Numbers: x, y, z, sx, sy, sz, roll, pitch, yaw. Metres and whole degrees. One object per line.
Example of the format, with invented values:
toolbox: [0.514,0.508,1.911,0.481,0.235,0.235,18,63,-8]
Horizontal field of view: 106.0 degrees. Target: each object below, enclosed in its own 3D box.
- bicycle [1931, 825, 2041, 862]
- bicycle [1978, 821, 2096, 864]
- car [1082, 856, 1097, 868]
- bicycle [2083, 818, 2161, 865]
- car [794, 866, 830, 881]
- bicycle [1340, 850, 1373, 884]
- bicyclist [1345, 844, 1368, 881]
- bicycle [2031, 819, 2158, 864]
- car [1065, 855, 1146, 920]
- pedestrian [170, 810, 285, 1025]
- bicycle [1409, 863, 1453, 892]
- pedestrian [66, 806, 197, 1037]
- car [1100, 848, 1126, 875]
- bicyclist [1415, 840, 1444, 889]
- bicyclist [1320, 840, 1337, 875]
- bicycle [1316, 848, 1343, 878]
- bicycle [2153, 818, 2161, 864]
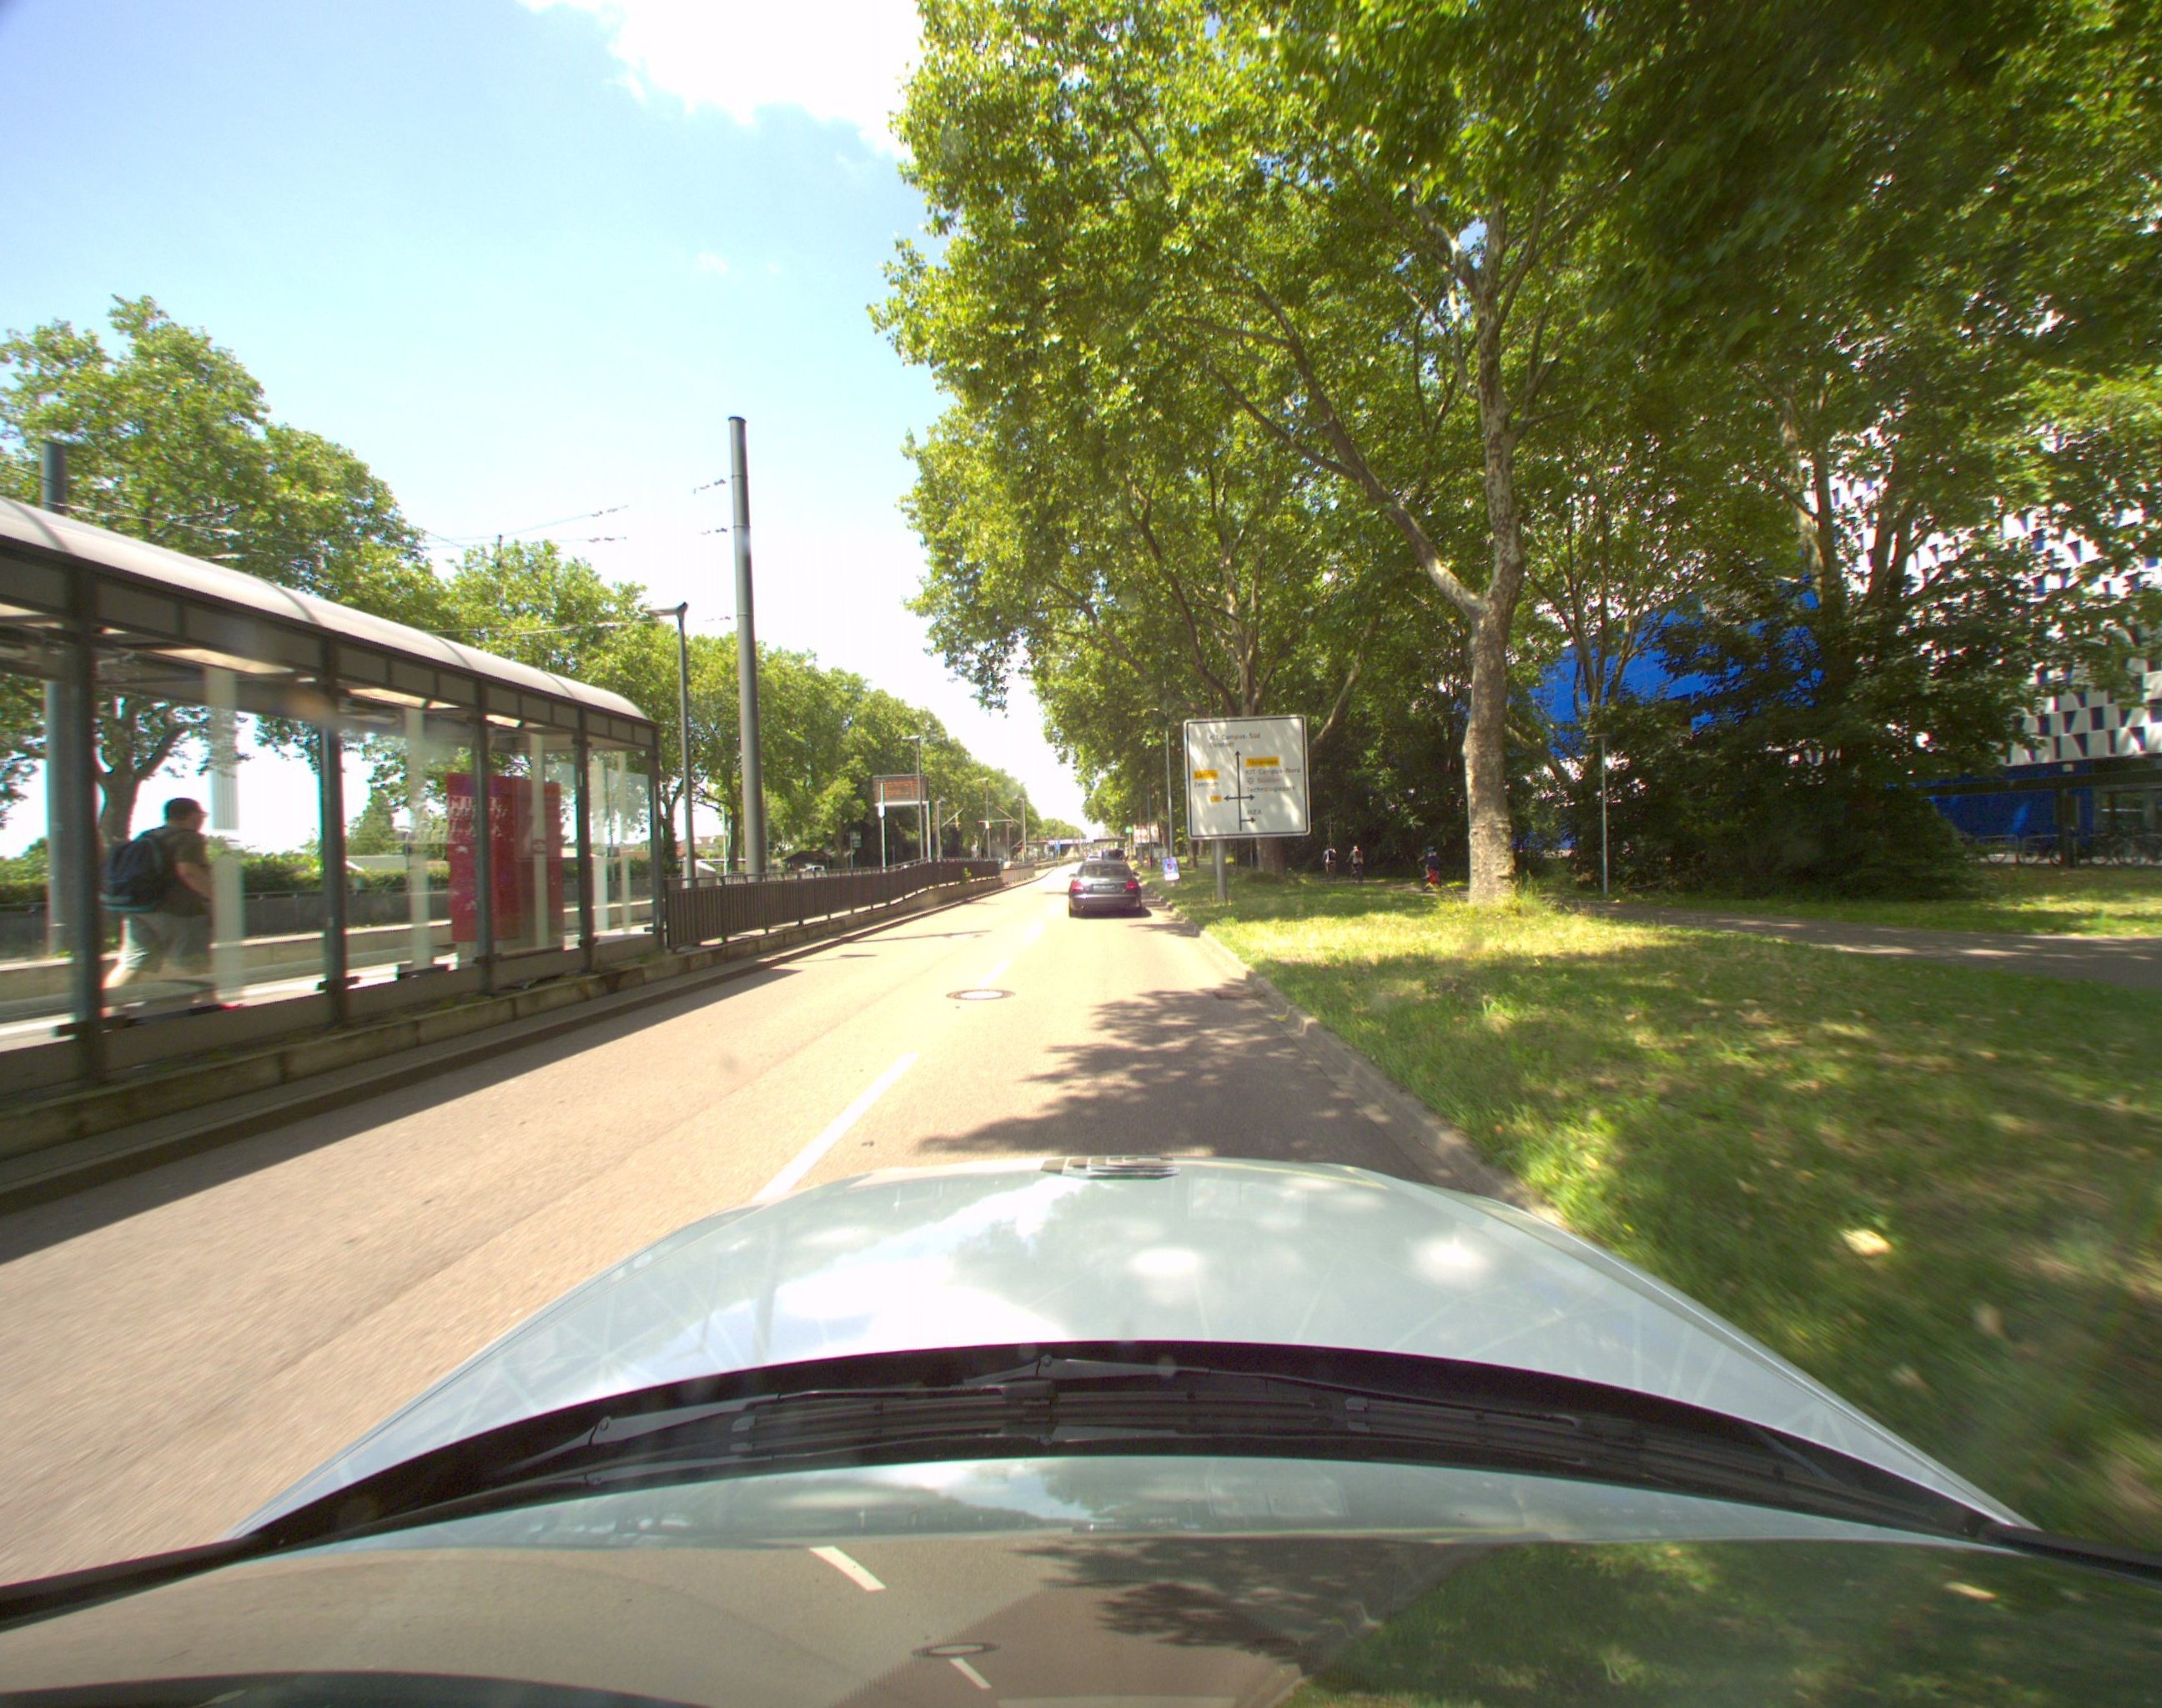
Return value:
bicycle: [26.977,-0.312,24.298,2.539,0.970,0.758,-2,0,-3]
bicycle: [27.053,-0.322,23.053,2.539,1.110,0.758,-2,0,-3]
car: [1.086,1.003,102.114,1.839,1.464,4.000,-2,0,0]
bicycle: [27.066,-0.341,20.618,2.539,1.110,0.758,-2,0,-3]
car: [-28.298,2.062,85.844,3.316,1.475,1.649,-2,0,-10]
bicycle: [12.241,0.551,36.263,0.608,1.420,2.663,-2,0,2]
bicyclist: [12.266,0.365,36.245,0.656,1.599,1.054,-2,0,2]
bicycle: [27.084,-0.332,21.783,2.539,1.110,0.758,-2,0,-3]
car: [0.542,0.792,21.426,1.838,1.484,3.997,-2,0,-2]
pedestrian: [-6.255,0.441,5.985,0.419,1.508,0.393,-2,0,-22]
bicycle: [11.817,0.776,27.527,0.643,0.887,2.024,-2,0,1]
pedestrian: [-6.519,0.440,5.611,0.419,1.508,0.393,-2,0,-22]
car: [2.424,0.541,61.073,1.840,1.959,4.149,-1,0,4]
bicyclist: [11.830,0.344,27.644,0.620,1.610,0.817,-2,0,3]
bicyclist: [12.516,0.171,41.217,0.595,1.746,0.843,-1,0,2]
bicycle: [12.505,0.441,41.052,0.608,1.420,2.663,-2,0,2]
bicycle: [27.335,-0.351,19.455,2.539,1.110,0.758,-2,0,-3]
